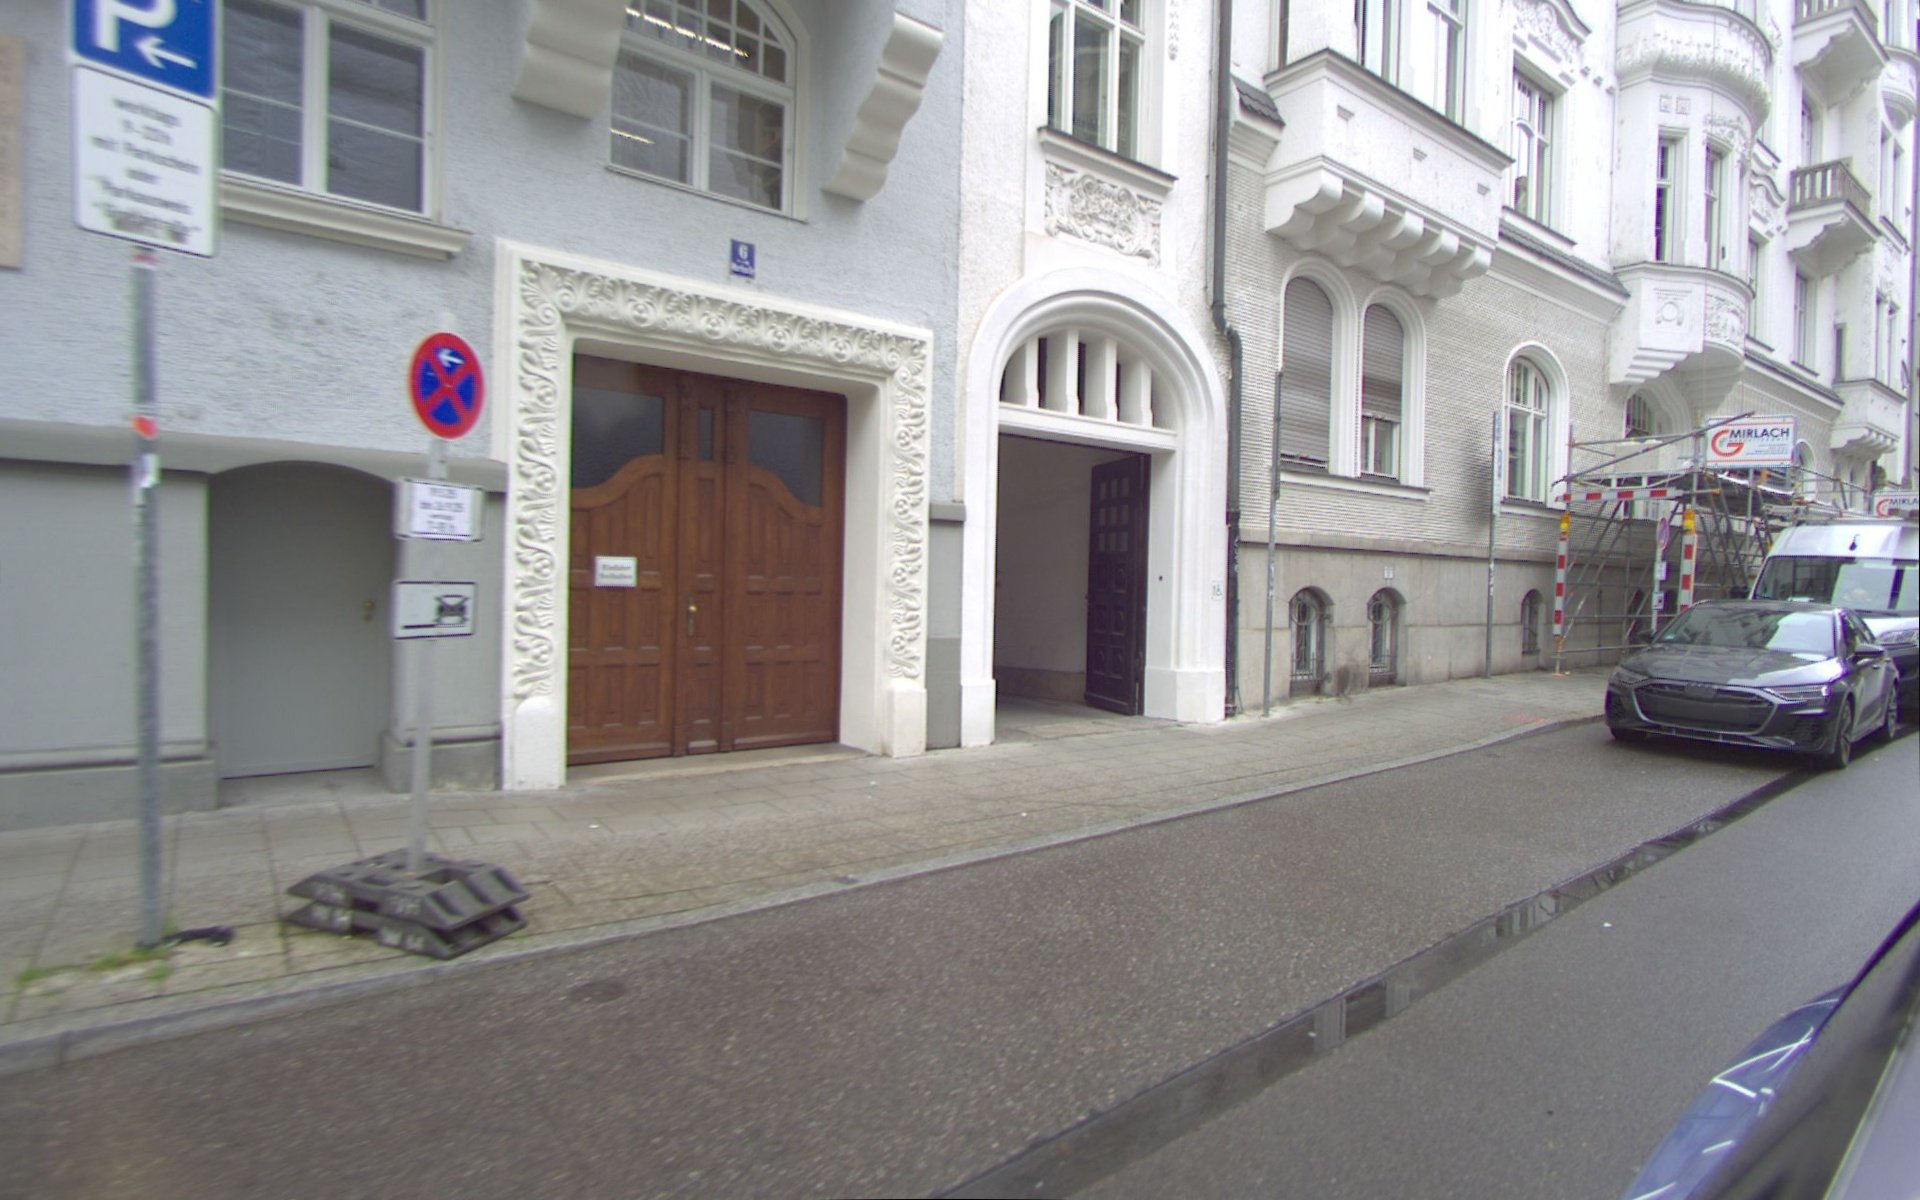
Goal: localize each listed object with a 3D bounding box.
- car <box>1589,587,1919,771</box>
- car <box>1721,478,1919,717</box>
[{"bbox_3d":[8.086,0.609,10.091,4.168,1.425,1.792,0,2,-39],"label":"car"},{"bbox_3d":[12.591,-0.086,13.853,5.346,2.721,2.083,0,3,-38],"label":"car"}]
